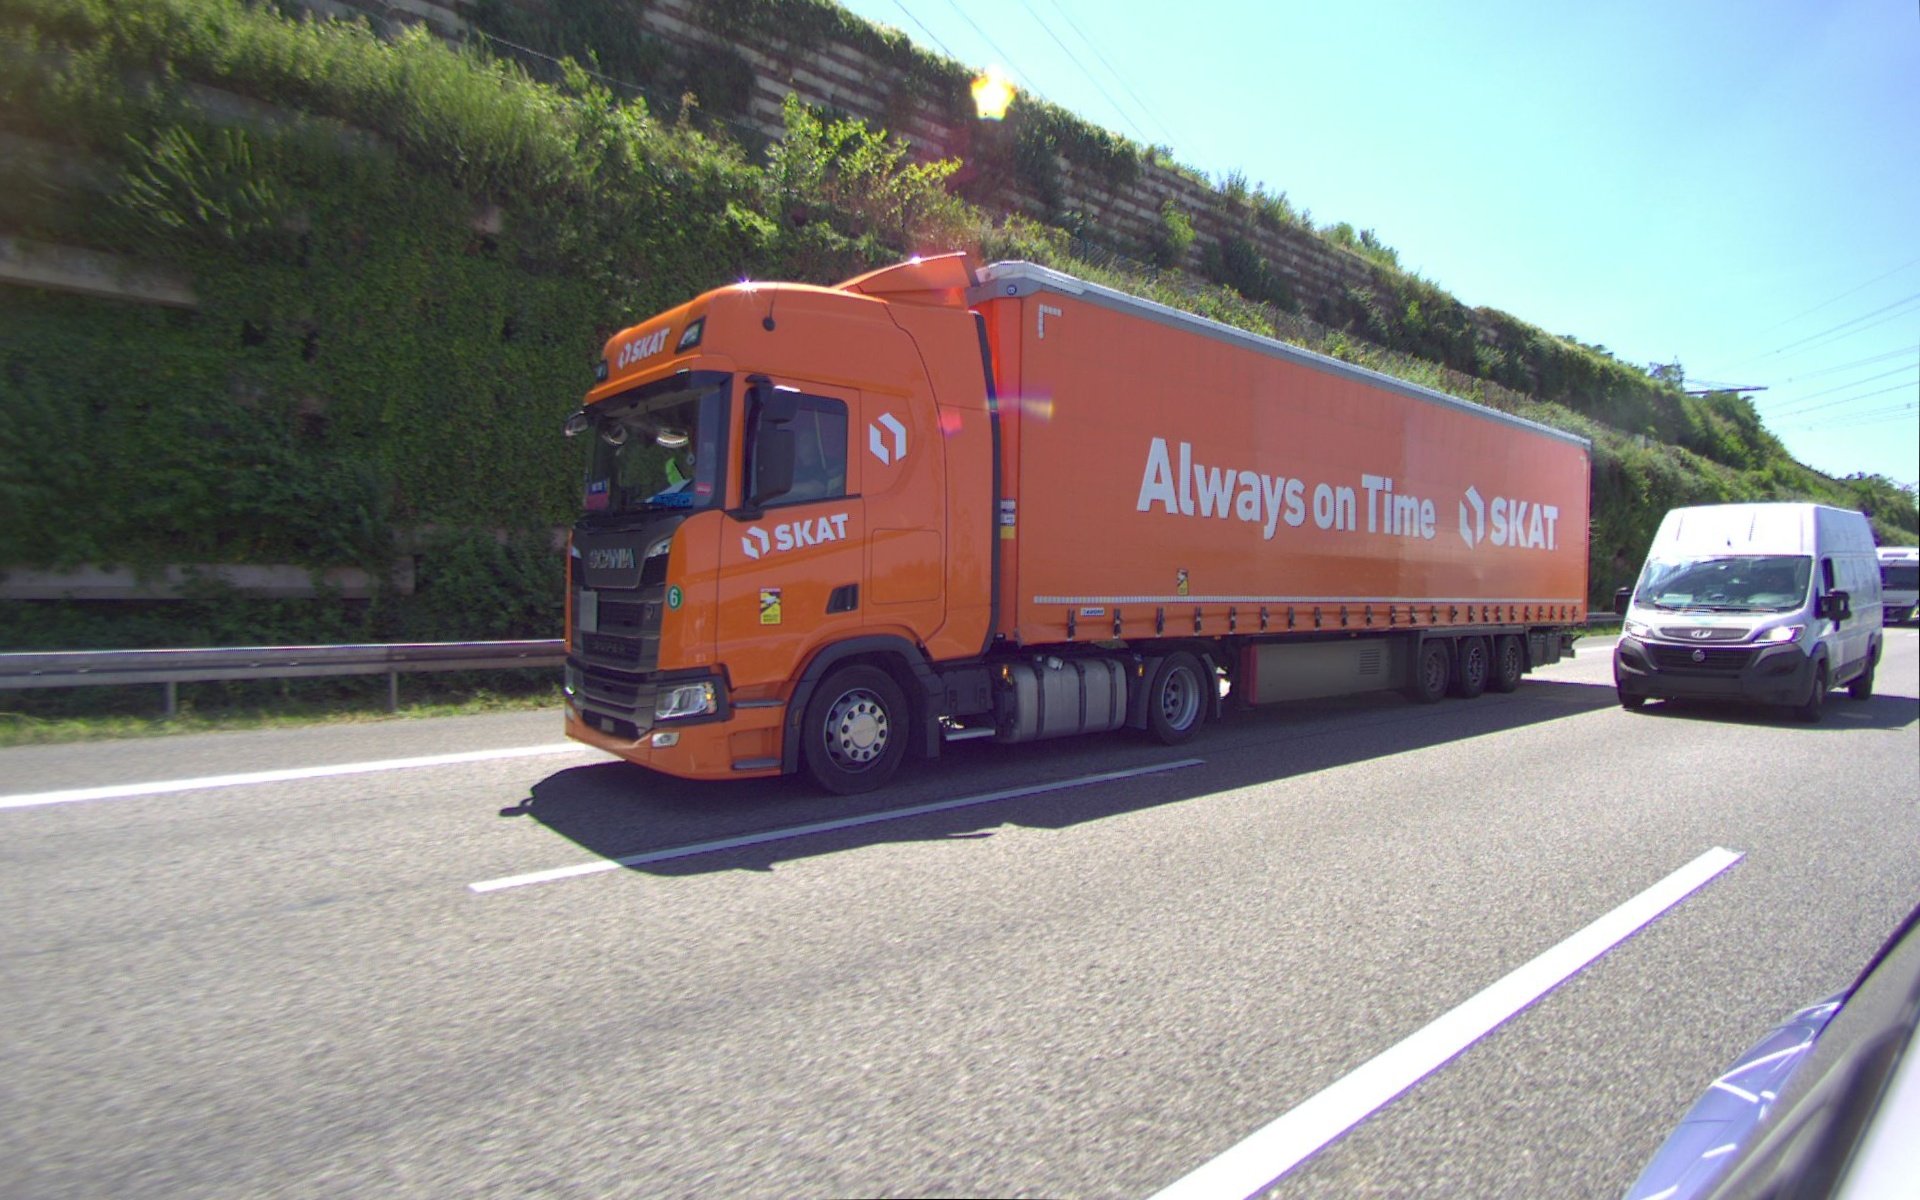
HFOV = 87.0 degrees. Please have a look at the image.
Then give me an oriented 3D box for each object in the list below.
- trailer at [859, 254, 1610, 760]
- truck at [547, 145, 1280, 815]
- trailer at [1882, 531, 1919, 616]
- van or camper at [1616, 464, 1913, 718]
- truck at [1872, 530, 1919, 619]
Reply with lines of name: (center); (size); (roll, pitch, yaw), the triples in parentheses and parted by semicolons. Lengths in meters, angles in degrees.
trailer: (4.910, -0.802, 13.511); (13.367, 4.055, 2.650); (0, 1, -41)
truck: (-0.035, -0.769, 9.217); (6.412, 4.042, 2.623); (0, 1, -41)
trailer: (54.586, -1.357, 56.670); (16.732, 4.264, 2.519); (0, 1, -42)
van or camper: (11.489, -0.139, 14.192); (6.639, 2.803, 2.100); (0, 1, -41)
truck: (48.187, -1.277, 50.977); (6.147, 4.272, 2.512); (0, 2, -41)
